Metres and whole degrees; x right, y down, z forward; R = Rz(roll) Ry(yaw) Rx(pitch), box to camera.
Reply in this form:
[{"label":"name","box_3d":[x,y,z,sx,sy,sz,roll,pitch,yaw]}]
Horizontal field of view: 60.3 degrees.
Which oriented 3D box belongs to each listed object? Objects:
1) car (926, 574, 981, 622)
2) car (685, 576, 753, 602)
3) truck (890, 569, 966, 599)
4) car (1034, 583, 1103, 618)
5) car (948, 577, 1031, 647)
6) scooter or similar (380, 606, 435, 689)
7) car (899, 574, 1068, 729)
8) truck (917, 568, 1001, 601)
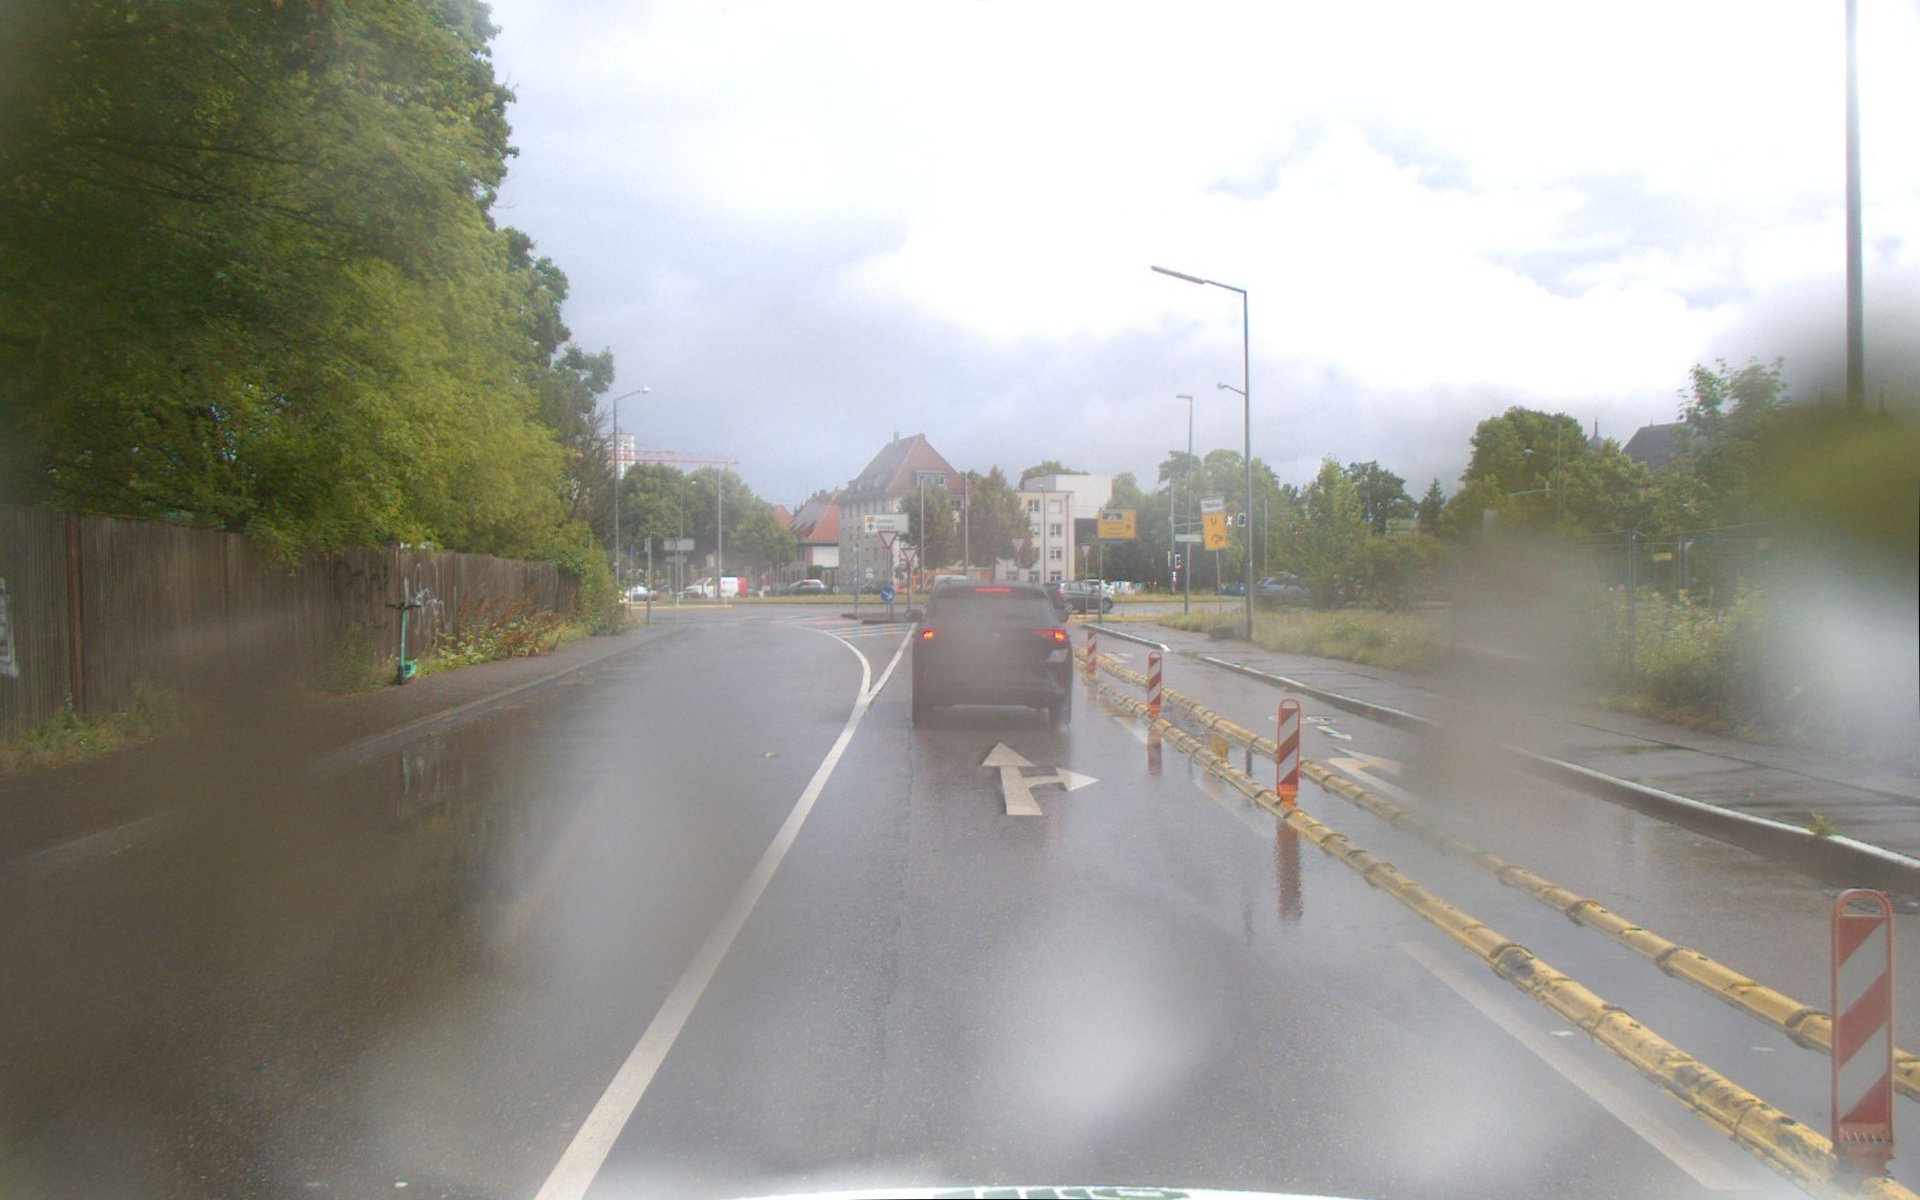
[{"label":"car","box_3d":[-0.233,-0.084,65.738,1.825,1.841,4.406,0,1,4]},{"label":"car","box_3d":[-18.655,-0.852,128.263,1.863,1.909,5.095,0,1,45]},{"label":"truck","box_3d":[-2.838,-1.416,145.458,6.569,2.485,2.432,-1,0,-4]},{"label":"car","box_3d":[5.289,0.014,80.258,1.636,1.673,3.943,0,1,33]},{"label":"car","box_3d":[0.628,0.255,38.271,1.700,1.540,3.602,0,1,-3]},{"label":"scooter or similar","box_3d":[-8.161,0.689,24.456,0.551,1.183,1.206,0,0,-8]},{"label":"car","box_3d":[0.183,0.537,19.160,1.675,1.601,3.680,1,0,-4]},{"label":"truck","box_3d":[-0.066,-1.278,136.940,6.920,2.696,2.330,0,0,1]}]
